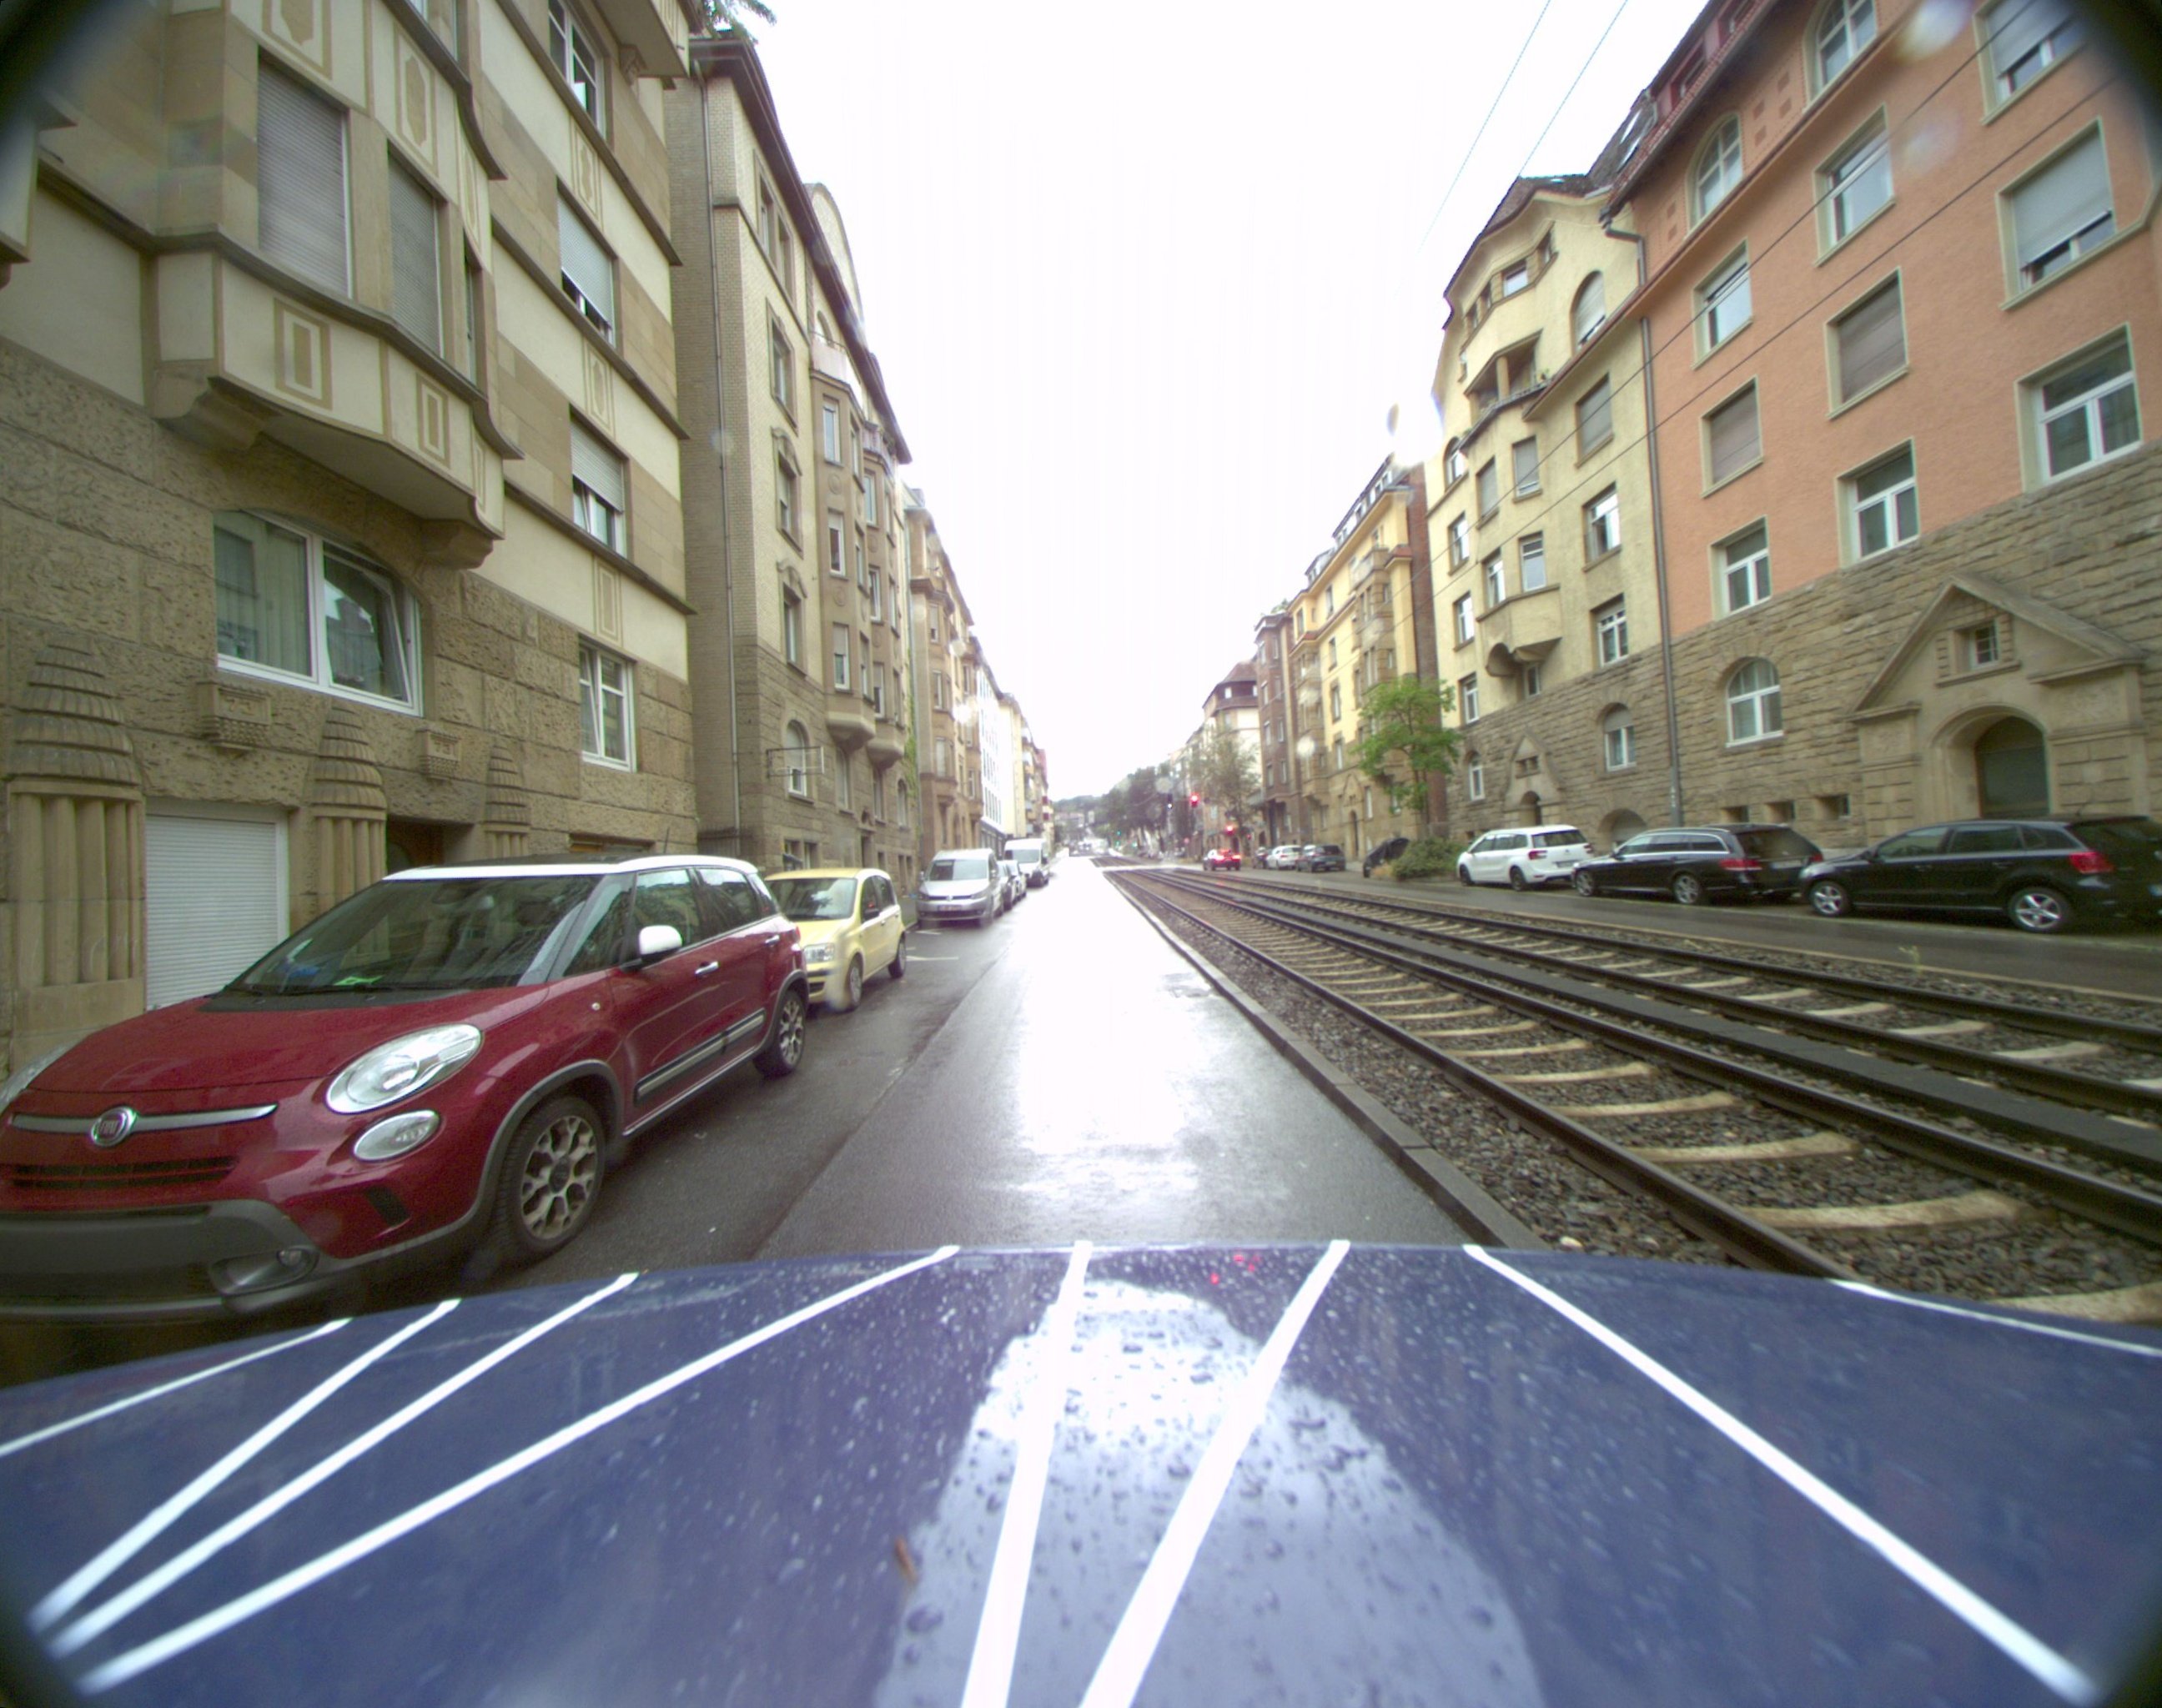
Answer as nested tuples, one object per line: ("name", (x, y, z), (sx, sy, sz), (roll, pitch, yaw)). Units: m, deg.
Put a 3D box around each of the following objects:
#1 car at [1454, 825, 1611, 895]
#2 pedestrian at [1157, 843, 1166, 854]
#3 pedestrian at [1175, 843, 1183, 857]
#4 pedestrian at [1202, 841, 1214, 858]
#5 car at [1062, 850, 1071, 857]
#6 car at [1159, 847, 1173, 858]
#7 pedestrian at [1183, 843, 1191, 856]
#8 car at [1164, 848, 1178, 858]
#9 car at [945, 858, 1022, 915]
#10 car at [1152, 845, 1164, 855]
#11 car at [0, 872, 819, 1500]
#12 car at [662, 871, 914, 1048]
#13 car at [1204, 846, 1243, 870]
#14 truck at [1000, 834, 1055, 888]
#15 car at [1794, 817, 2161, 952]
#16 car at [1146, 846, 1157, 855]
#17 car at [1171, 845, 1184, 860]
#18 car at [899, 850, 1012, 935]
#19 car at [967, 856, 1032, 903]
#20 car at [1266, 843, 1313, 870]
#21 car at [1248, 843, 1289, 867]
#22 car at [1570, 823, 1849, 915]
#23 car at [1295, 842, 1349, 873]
("car", (12.279, 0.136, 21.042), (1.867, 1.646, 4.146), (-3, 0, 1))
("pedestrian", (15.399, -1.026, 145.151), (1.380, 1.946, 1.379), (-3, 1, 2))
("pedestrian", (15.045, -0.615, 116.809), (1.056, 1.946, 1.163), (-3, 1, 2))
("pedestrian", (14.812, -0.495, 88.703), (1.056, 1.946, 1.163), (-3, 1, 2))
("car", (-3.660, -0.140, 192.395), (1.998, 1.838, 4.000), (-3, 0, 1))
("car", (12.871, -0.277, 115.361), (1.771, 1.507, 3.845), (-3, 0, 1))
("pedestrian", (16.242, -0.658, 116.801), (1.056, 1.946, 1.163), (-3, 1, 2))
("car", (12.575, -0.089, 106.378), (1.583, 1.303, 3.845), (-3, 0, 1))
("car", (-2.958, 0.946, 23.810), (1.999, 1.521, 3.999), (-3, 0, -3))
("car", (12.839, -0.634, 126.831), (1.657, 1.589, 3.775), (-3, 0, 1))
("car", (-3.026, 0.984, 4.087), (1.807, 1.590, 3.999), (-3, 0, -1))
("car", (-3.182, 1.047, 9.035), (1.580, 1.520, 3.578), (-3, 0, -1))
("car", (9.720, 0.237, 52.215), (1.807, 1.514, 4.965), (-3, 0, 2))
("truck", (-2.718, 0.350, 39.940), (2.235, 2.521, 6.143), (-3, 0, 1))
("car", (12.535, 0.315, 10.462), (1.935, 1.488, 3.642), (-2, 1, -2))
("car", (12.435, -0.632, 133.699), (1.632, 1.537, 3.801), (-3, 0, 1))
("car", (12.674, -0.235, 99.540), (1.583, 1.669, 3.790), (-3, 2, 7))
("car", (-3.003, 0.855, 19.194), (1.968, 1.792, 4.459), (-3, 0, 1))
("car", (-2.947, 0.888, 28.311), (1.891, 1.521, 3.929), (-3, 0, 1))
("car", (12.477, 0.121, 45.648), (1.771, 1.433, 4.031), (-3, 0, 2))
("car", (12.487, 0.069, 50.743), (1.771, 1.433, 3.845), (-3, 0, 1))
("car", (12.298, 0.248, 15.379), (1.847, 1.486, 4.601), (-3, 0, 1))
("car", (12.509, 0.132, 39.609), (1.678, 1.433, 3.845), (-4, 1, 3))
